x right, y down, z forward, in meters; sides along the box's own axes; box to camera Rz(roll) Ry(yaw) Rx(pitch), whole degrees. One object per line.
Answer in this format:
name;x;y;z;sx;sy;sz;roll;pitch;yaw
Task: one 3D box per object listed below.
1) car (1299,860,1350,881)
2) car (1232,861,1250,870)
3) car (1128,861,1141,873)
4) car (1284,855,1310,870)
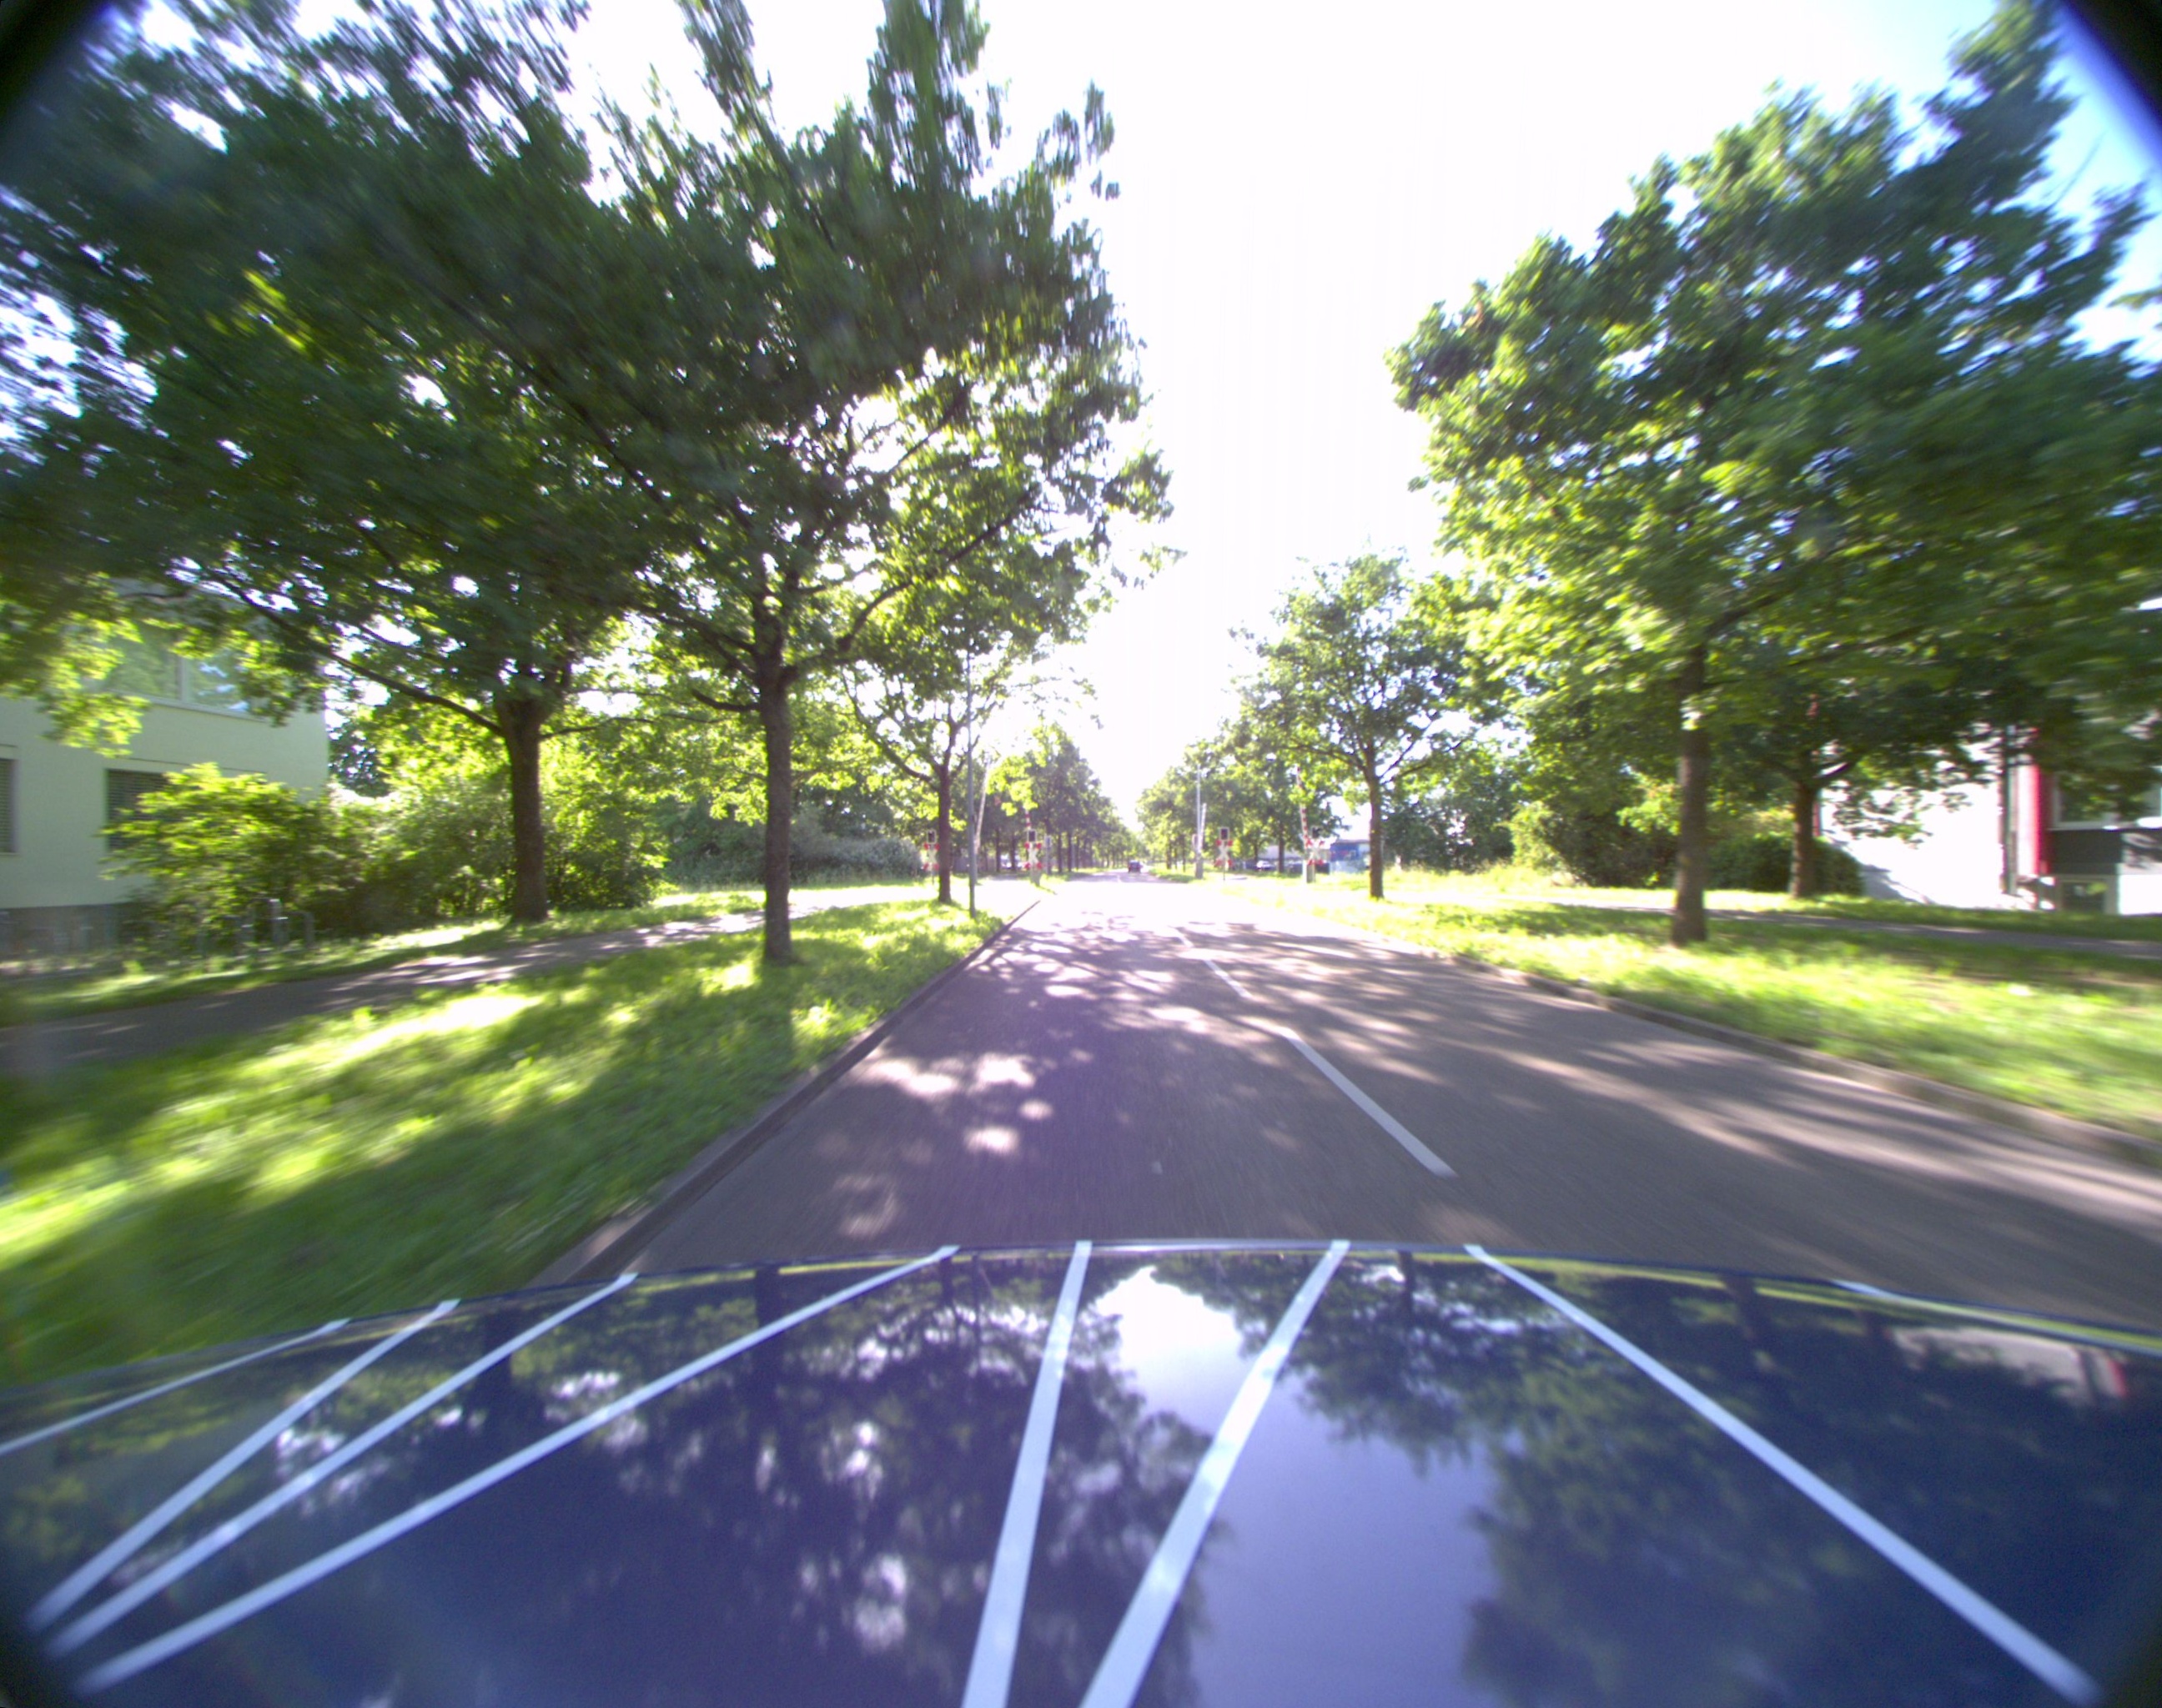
car;22.718;1.499;70.975;3.998;1.791;2.000;-2;0;-2
car;25.255;1.780;119.913;2.569;1.461;1.428;-1;0;22
car;6.670;1.599;94.187;1.569;1.495;4.002;1;-1;4
car;25.418;0.982;89.609;1.998;1.588;5.016;-2;0;4
